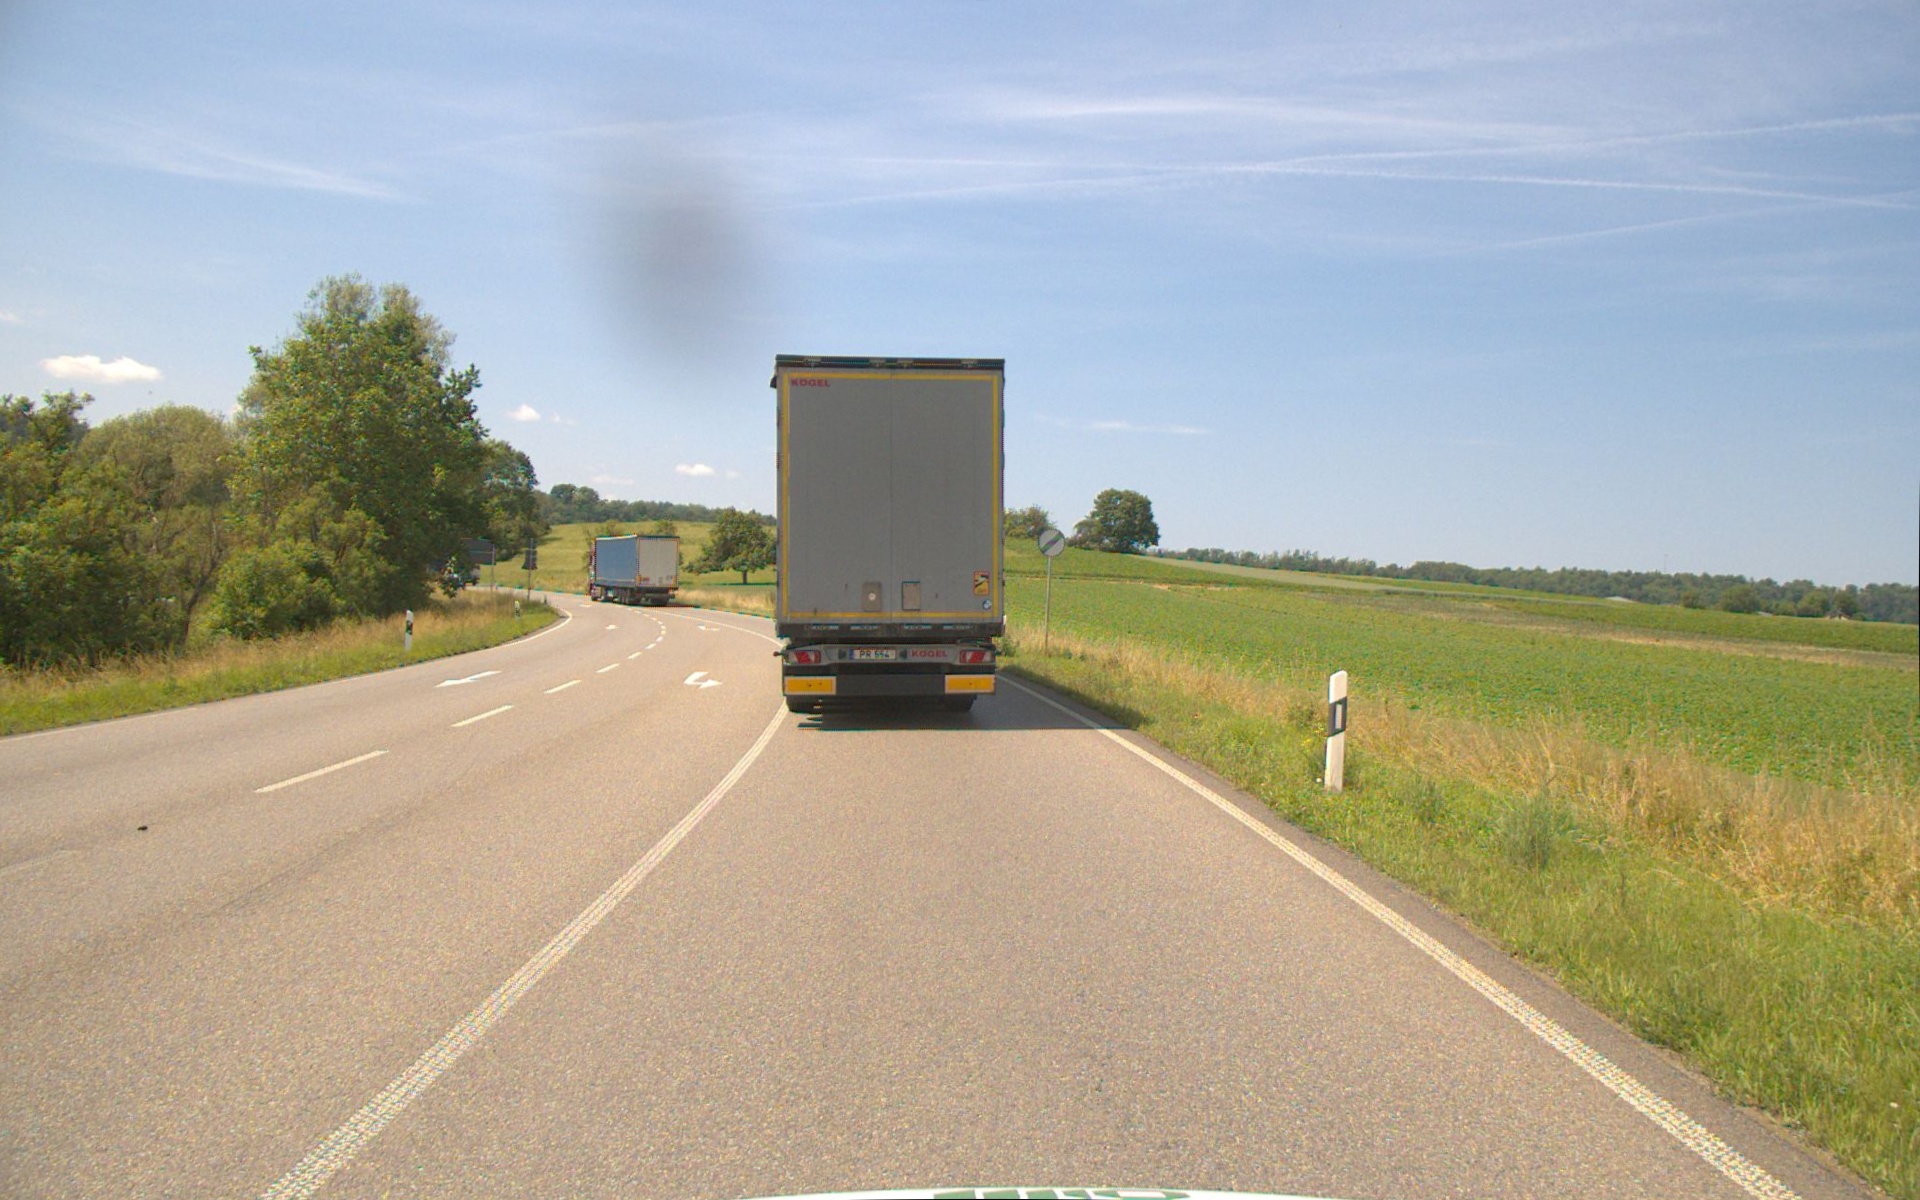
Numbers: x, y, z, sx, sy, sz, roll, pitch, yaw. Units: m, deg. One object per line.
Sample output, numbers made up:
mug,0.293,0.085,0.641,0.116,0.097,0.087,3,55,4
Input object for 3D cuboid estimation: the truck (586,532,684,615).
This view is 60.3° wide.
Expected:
truck,-20.433,-1.626,102.941,2.919,4.664,16.209,2,0,-22

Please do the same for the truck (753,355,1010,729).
truck,-1.233,-0.646,22.665,2.753,4.015,9.581,0,0,-5

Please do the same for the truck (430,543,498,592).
truck,-47.901,-3.042,159.410,3.597,4.201,12.972,3,-2,-29

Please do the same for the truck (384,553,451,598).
truck,-56.751,-2.462,172.778,3.494,4.315,13.260,4,-2,-31
